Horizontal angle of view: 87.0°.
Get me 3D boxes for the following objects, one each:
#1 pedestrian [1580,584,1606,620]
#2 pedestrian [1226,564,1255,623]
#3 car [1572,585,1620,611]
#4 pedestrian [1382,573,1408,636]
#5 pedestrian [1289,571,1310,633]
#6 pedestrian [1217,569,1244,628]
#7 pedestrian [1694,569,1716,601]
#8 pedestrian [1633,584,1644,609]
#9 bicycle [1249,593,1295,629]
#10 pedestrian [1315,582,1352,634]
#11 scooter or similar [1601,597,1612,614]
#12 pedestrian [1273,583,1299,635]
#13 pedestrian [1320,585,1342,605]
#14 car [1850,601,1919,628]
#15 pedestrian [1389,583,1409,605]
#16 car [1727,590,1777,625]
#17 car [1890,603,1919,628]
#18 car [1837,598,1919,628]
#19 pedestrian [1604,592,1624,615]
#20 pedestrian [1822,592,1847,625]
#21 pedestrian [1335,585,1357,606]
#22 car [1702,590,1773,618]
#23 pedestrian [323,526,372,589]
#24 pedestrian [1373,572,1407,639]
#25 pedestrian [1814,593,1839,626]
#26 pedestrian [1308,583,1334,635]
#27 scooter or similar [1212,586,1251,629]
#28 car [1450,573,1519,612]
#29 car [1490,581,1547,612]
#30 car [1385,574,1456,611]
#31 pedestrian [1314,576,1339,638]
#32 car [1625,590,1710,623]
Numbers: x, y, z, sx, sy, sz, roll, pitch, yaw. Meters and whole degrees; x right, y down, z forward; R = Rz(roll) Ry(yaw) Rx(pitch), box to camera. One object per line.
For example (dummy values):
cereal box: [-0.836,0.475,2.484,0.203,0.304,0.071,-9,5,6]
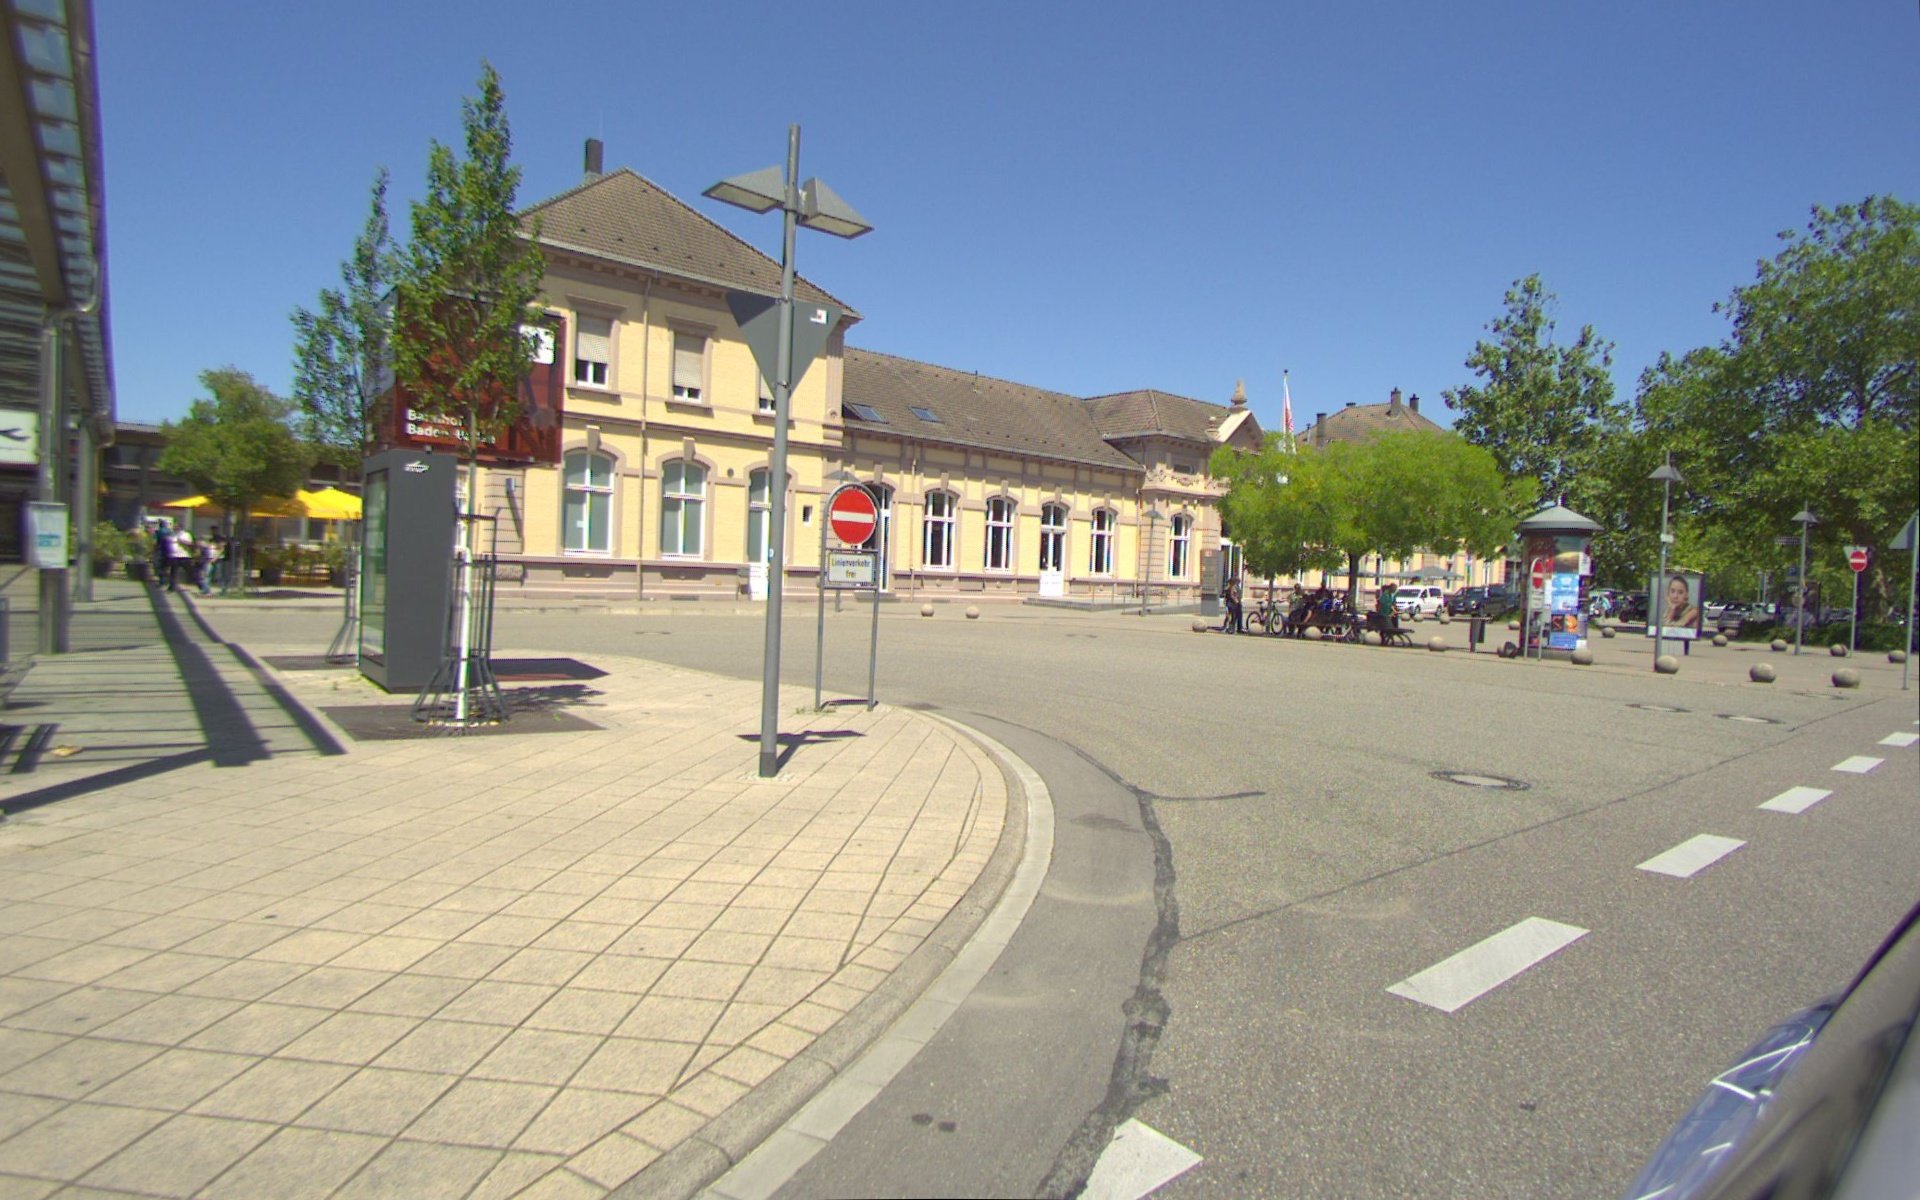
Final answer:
pedestrian: [31.978,0.087,51.122,0.760,1.738,0.814,2,1,3]
pedestrian: [8.383,-0.194,30.245,0.616,1.706,0.583,3,1,38]
car: [47.543,-0.163,75.566,1.998,1.863,5.233,1,0,44]
pedestrian: [12.428,0.131,28.900,0.621,1.761,0.543,2,1,25]
pedestrian: [9.834,0.062,29.279,0.506,1.761,0.567,2,1,21]
pedestrian: [7.956,-0.060,29.782,0.552,1.706,0.579,3,1,38]
pedestrian: [37.506,-0.743,50.951,0.580,1.567,0.609,3,2,9]
pedestrian: [54.751,-0.305,81.700,0.627,2.015,0.607,1,0,45]
bicycle: [9.695,0.319,31.435,1.915,1.073,0.421,0,2,-43]
pedestrian: [10.482,0.220,28.402,0.902,1.403,0.938,2,1,20]
scooter or similar: [43.367,0.359,67.932,0.395,1.115,0.438,2,1,-7]
pedestrian: [8.977,0.232,27.828,0.592,1.381,0.595,3,1,22]
pedestrian: [22.053,-0.305,60.195,0.838,1.093,0.880,1,3,-44]
car: [57.581,0.899,62.261,3.832,1.478,1.625,3,2,22]
pedestrian: [28.719,-0.386,66.235,0.838,1.388,0.880,1,3,-44]
car: [39.328,0.375,50.255,1.597,1.613,3.057,3,2,44]
car: [61.385,1.042,63.683,3.832,1.478,1.625,3,2,22]
car: [50.734,0.744,54.716,4.741,1.434,1.767,3,2,31]
pedestrian: [43.490,0.216,67.324,0.785,1.442,0.692,2,1,-5]
pedestrian: [47.860,0.458,55.397,0.832,1.792,0.843,3,1,30]
pedestrian: [22.693,-0.284,59.506,0.838,1.176,0.880,1,3,-44]
car: [52.309,0.249,68.202,1.769,1.624,4.061,1,3,4]
pedestrian: [-18.743,-1.293,30.957,1.064,1.870,1.081,1,2,-42]
pedestrian: [11.711,0.146,27.566,0.689,1.785,0.578,3,1,34]
pedestrian: [48.336,0.531,56.458,0.832,1.792,0.842,3,1,31]
pedestrian: [9.779,0.234,27.418,0.592,1.381,0.595,3,1,22]
scooter or similar: [7.700,0.200,28.730,1.025,1.153,0.290,3,2,43]
car: [32.070,-0.427,61.793,2.088,2.151,5.731,2,0,44]
car: [36.805,-0.209,66.673,2.075,1.863,4.762,2,0,44]
car: [26.079,-0.413,57.237,5.051,1.889,1.811,2,0,-43]
pedestrian: [10.660,0.204,29.402,0.579,1.761,0.595,2,1,25]
car: [40.070,0.341,57.472,1.768,1.561,4.528,1,3,3]
